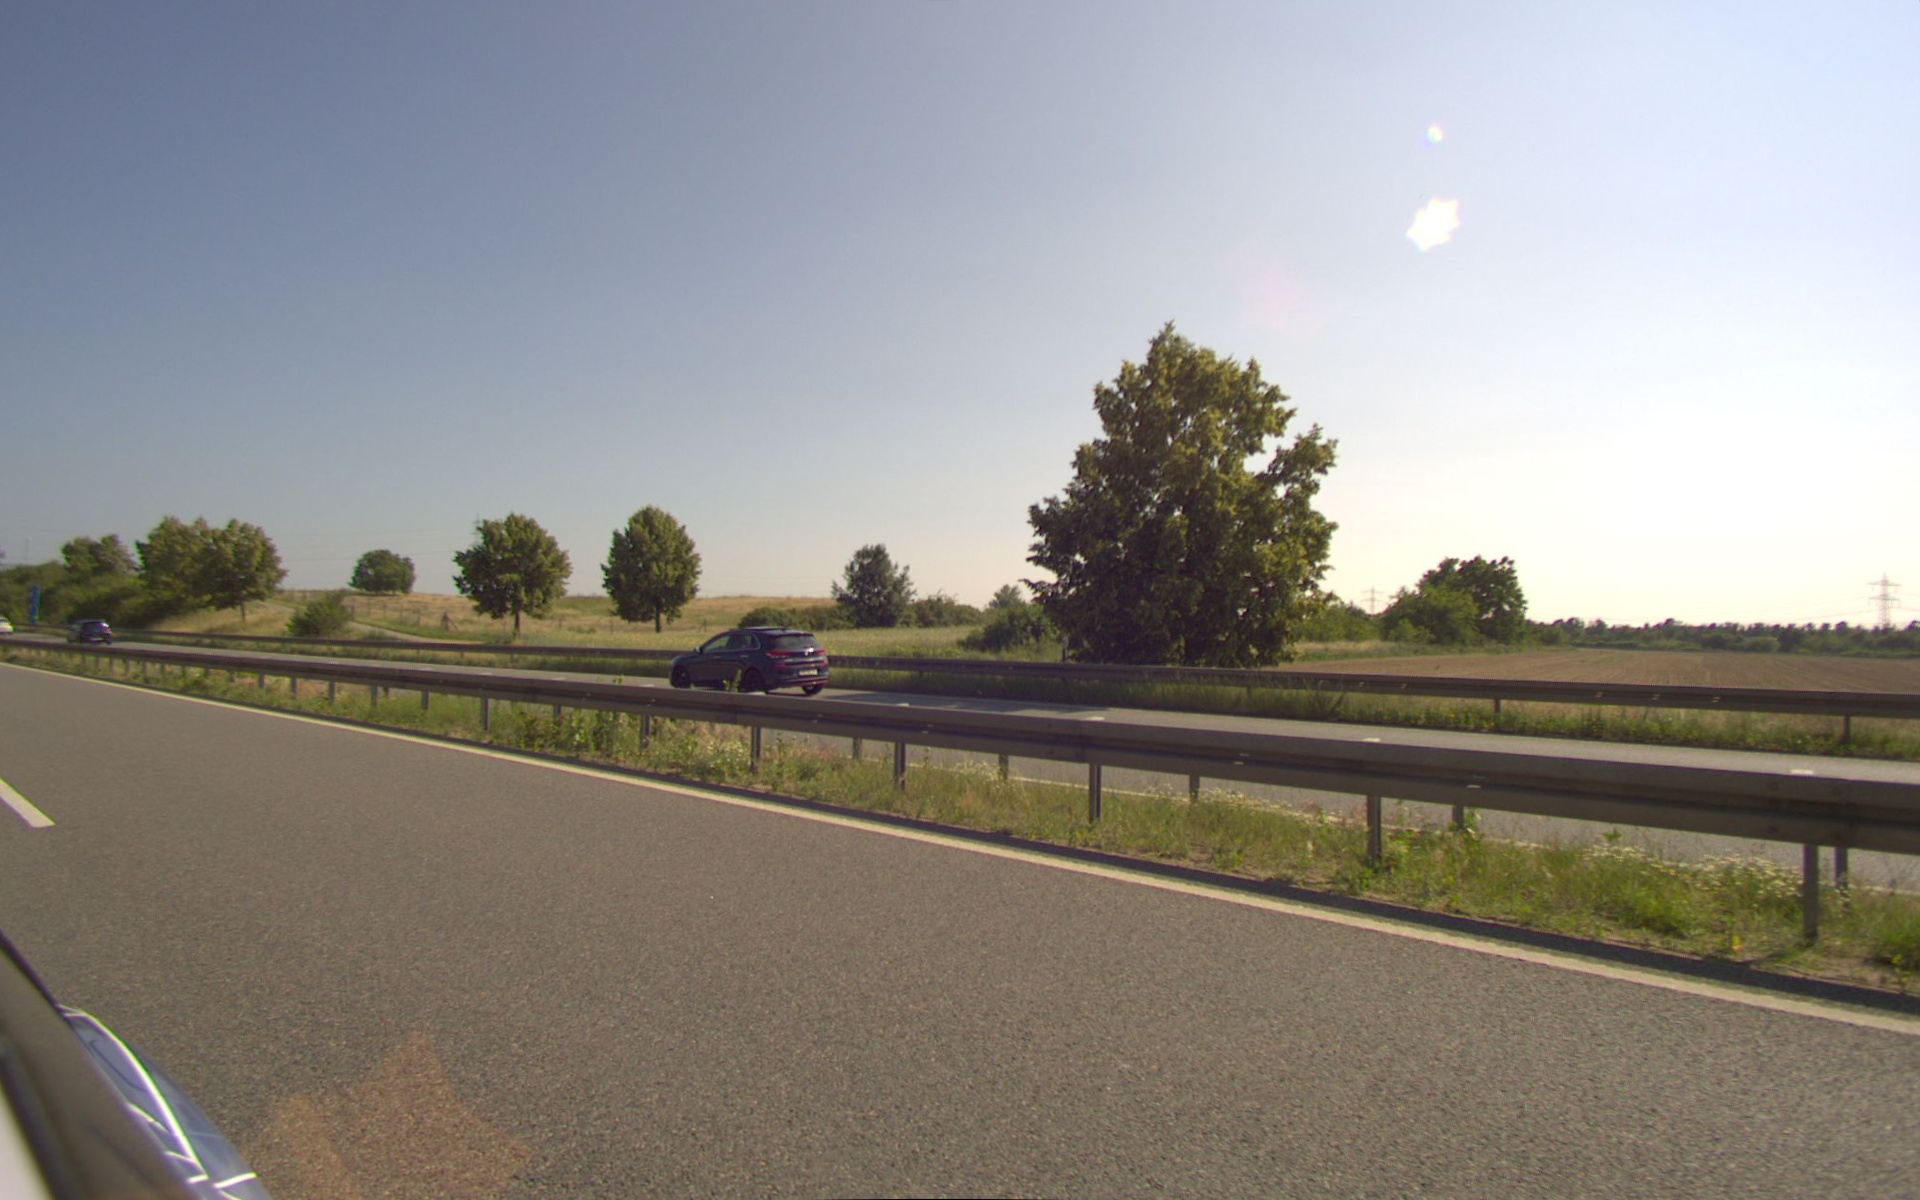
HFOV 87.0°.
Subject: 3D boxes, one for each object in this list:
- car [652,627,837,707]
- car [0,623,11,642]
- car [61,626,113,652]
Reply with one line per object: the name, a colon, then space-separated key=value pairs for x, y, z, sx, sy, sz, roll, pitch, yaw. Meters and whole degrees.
car: x=-4.874 y=1.409 z=22.495 sx=4.559 sy=1.565 sz=1.634 roll=-2 pitch=-1 yaw=42
car: x=-77.980 y=2.598 z=81.588 sx=4.344 sy=1.443 sz=1.652 roll=-1 pitch=0 yaw=39
car: x=-54.222 y=2.387 z=62.843 sx=3.995 sy=1.545 sz=1.737 roll=-1 pitch=0 yaw=39
